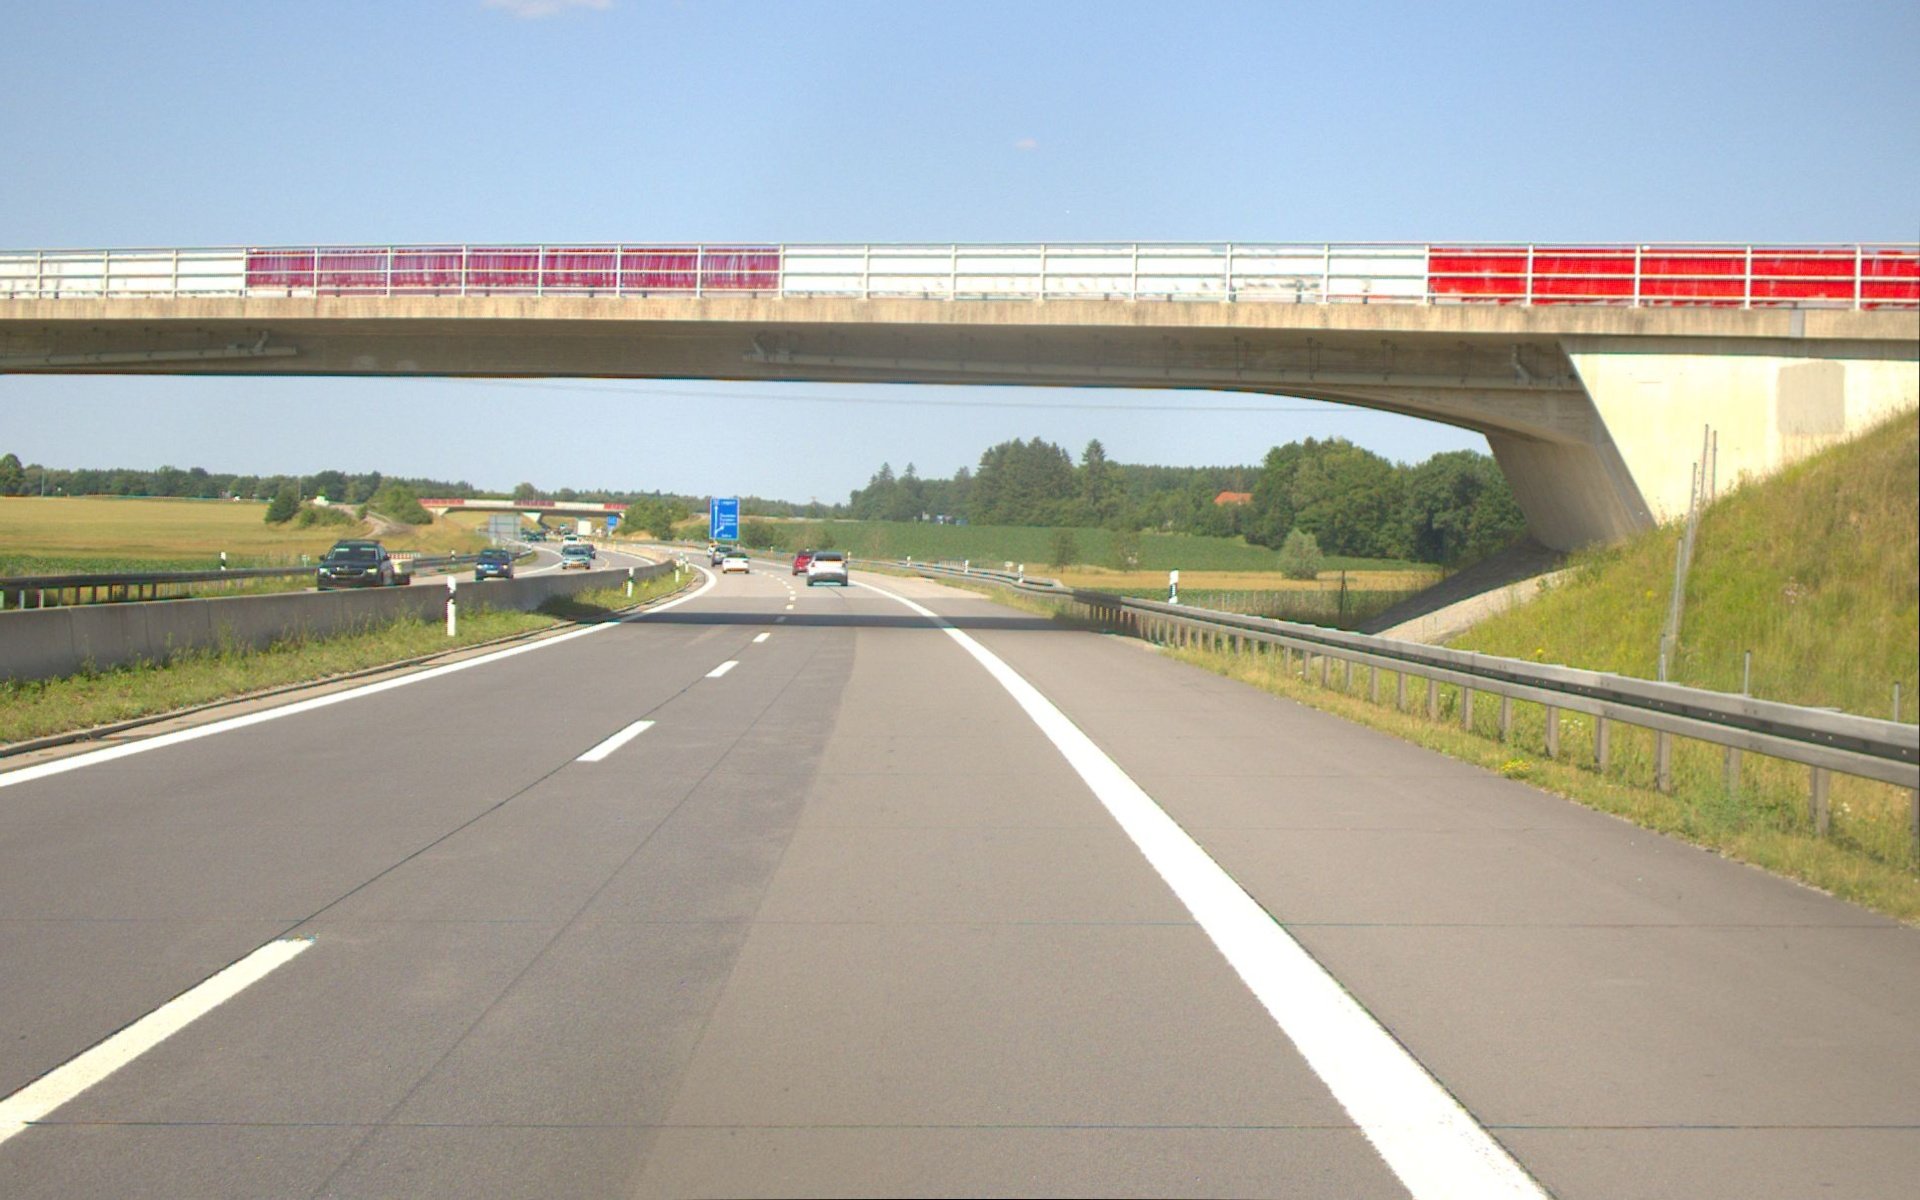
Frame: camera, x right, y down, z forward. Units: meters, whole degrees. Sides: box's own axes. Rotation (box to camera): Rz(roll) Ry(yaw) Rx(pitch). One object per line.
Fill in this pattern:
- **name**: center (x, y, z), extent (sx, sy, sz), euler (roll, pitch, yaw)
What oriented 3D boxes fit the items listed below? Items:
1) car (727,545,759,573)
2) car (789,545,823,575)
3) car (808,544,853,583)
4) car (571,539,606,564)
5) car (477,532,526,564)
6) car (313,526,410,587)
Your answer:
- **car**: center (-14.117, -2.655, 223.500), extent (1.993, 1.725, 4.870), euler (1, 1, -3)
- **car**: center (-9.457, -2.469, 211.370), extent (1.993, 1.725, 4.870), euler (1, 1, -3)
- **car**: center (-6.015, -1.722, 159.934), extent (1.993, 1.725, 4.870), euler (1, 1, -2)
- **car**: center (-24.727, -3.208, 228.924), extent (1.993, 1.573, 4.897), euler (2, 0, -3)
- **car**: center (-21.287, -2.427, 159.722), extent (1.854, 1.455, 4.196), euler (1, 1, -3)
- **car**: center (-17.667, -1.304, 101.710), extent (1.993, 1.725, 5.588), euler (1, 1, -2)
